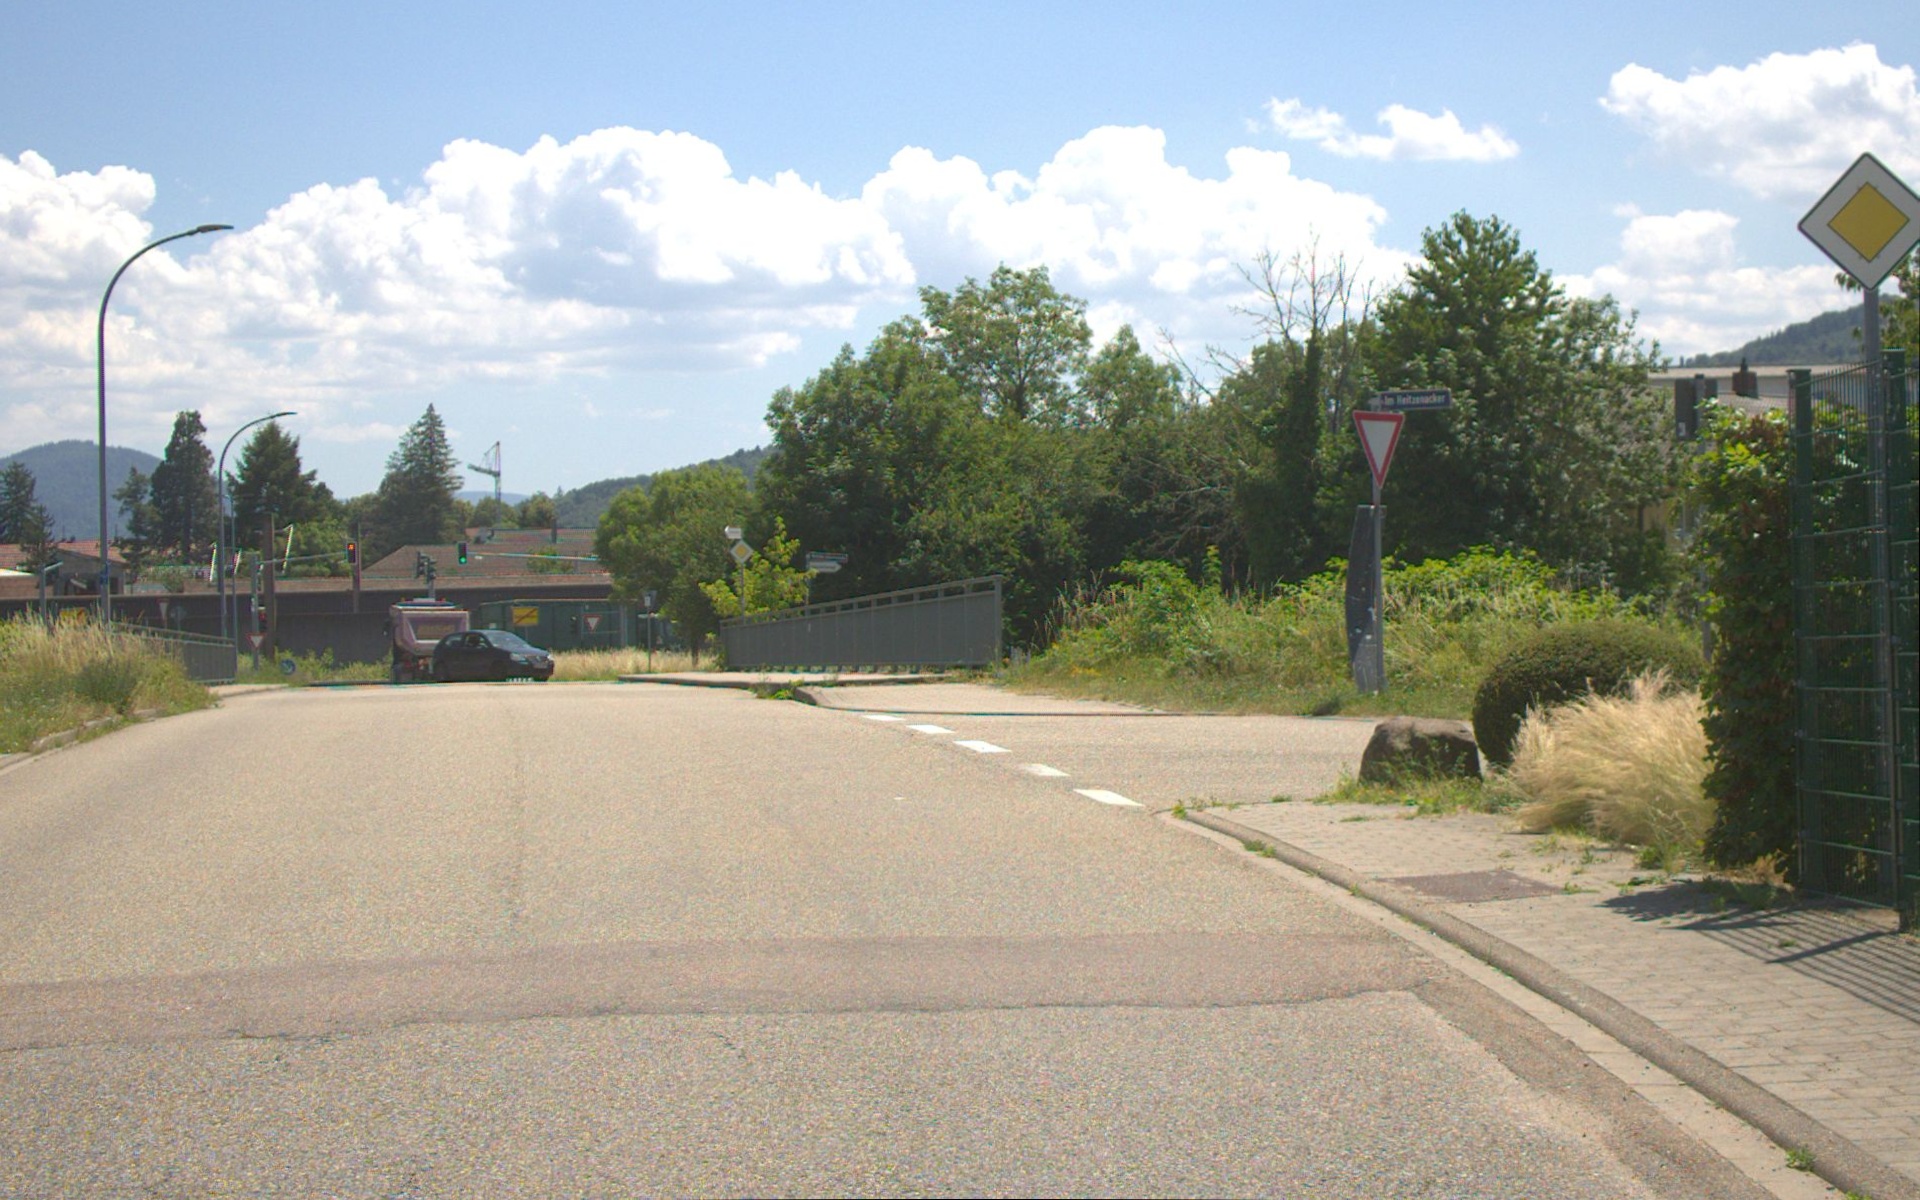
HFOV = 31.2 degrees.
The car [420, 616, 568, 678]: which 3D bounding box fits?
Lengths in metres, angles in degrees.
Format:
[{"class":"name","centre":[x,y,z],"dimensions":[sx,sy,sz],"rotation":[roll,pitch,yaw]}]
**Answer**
[{"class":"car","centre":[-12.808,1.284,94.455],"dimensions":[3.766,1.629,1.883],"rotation":[-1,1,37]}]

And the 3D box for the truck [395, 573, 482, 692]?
[{"class":"truck","centre":[-19.705,1.315,129.403],"dimensions":[2.995,4.167,11.809],"rotation":[0,-2,-10]}]
